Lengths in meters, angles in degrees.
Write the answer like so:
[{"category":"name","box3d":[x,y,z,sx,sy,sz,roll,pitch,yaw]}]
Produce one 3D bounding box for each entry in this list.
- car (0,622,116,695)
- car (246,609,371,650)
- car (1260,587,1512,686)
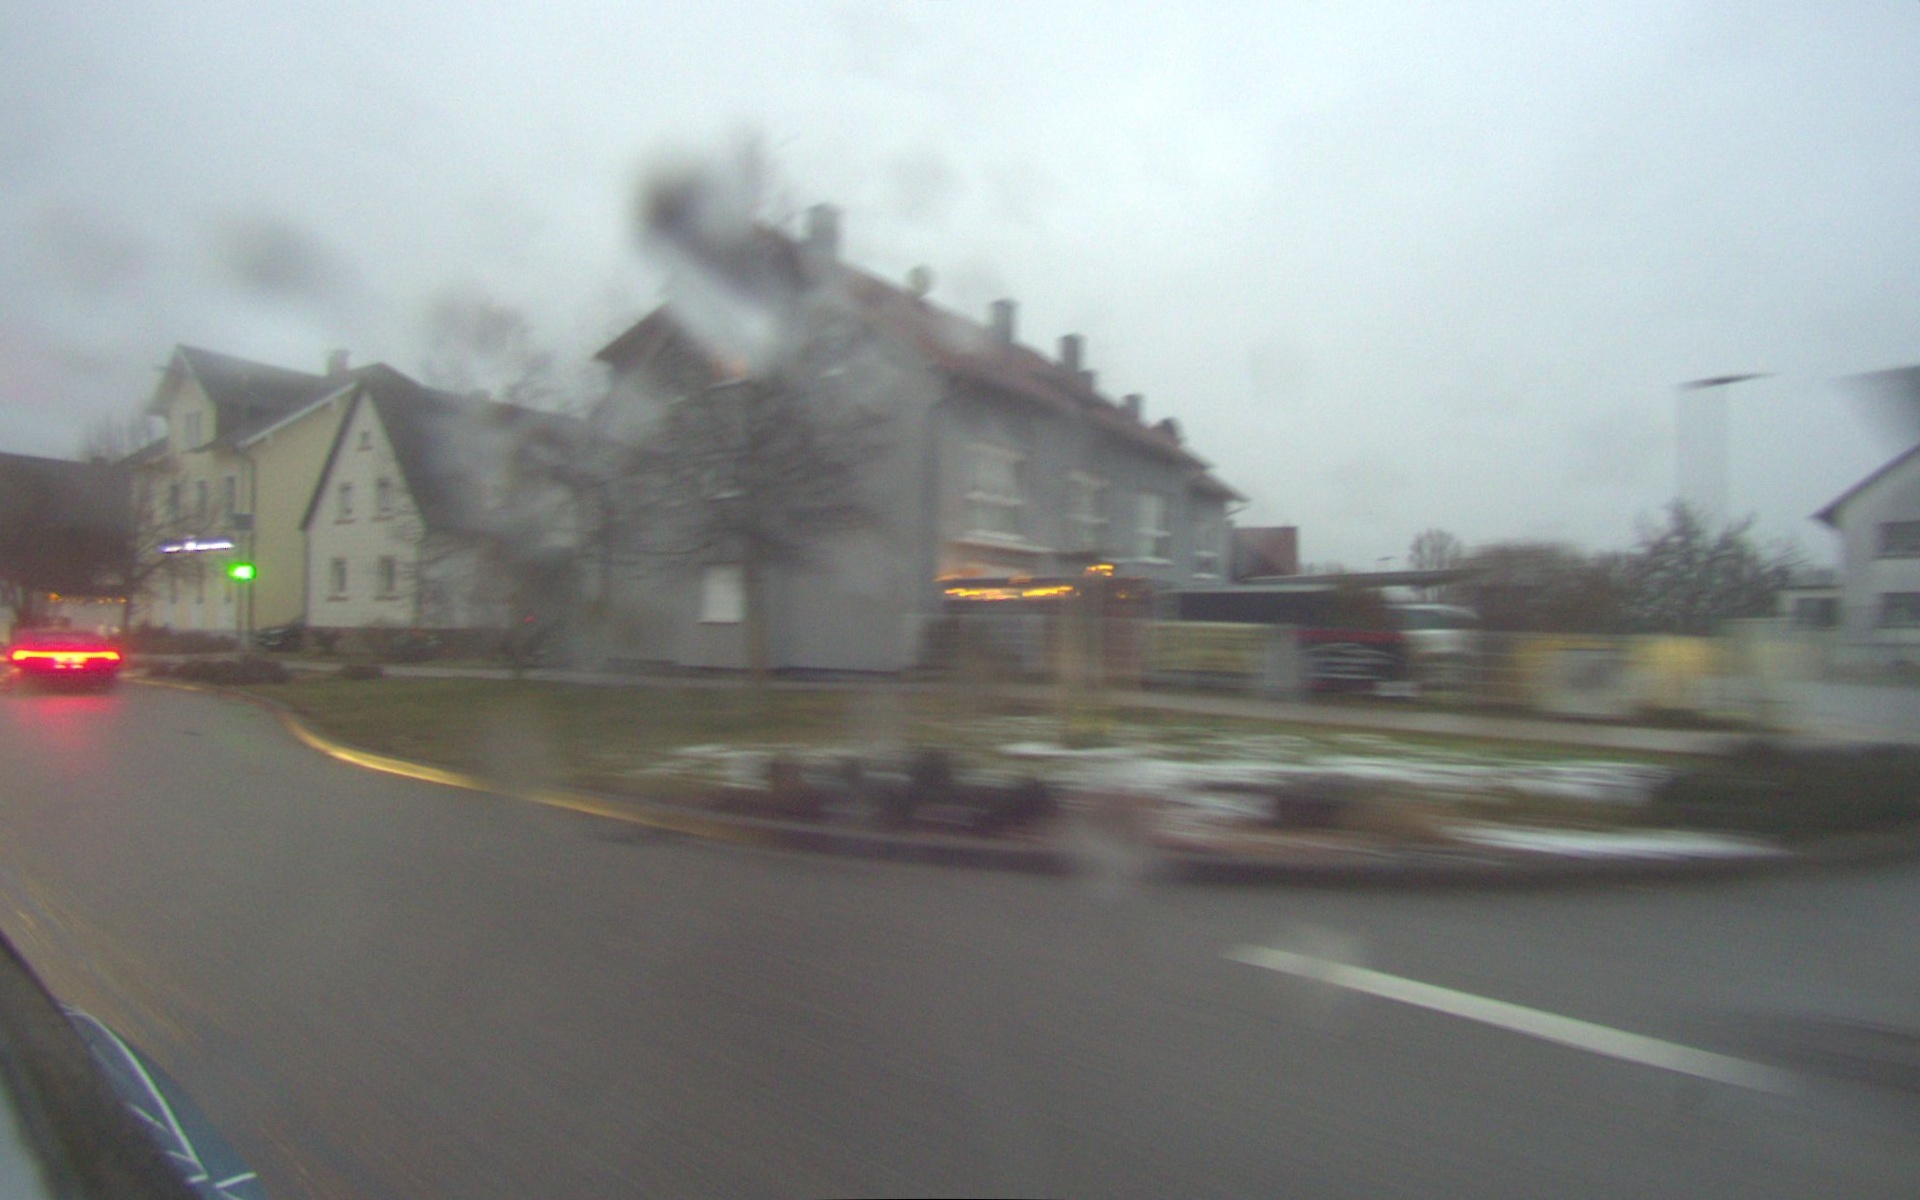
[{"category":"car","box3d":[-20.767,1.264,23.078,4.570,1.499,1.885,-1,-2,45]},{"category":"car","box3d":[-27.172,1.247,42.300,1.915,1.612,3.957,-1,-2,31]},{"category":"car","box3d":[7.938,0.644,18.983,3.993,1.663,1.975,-1,-1,37]}]
